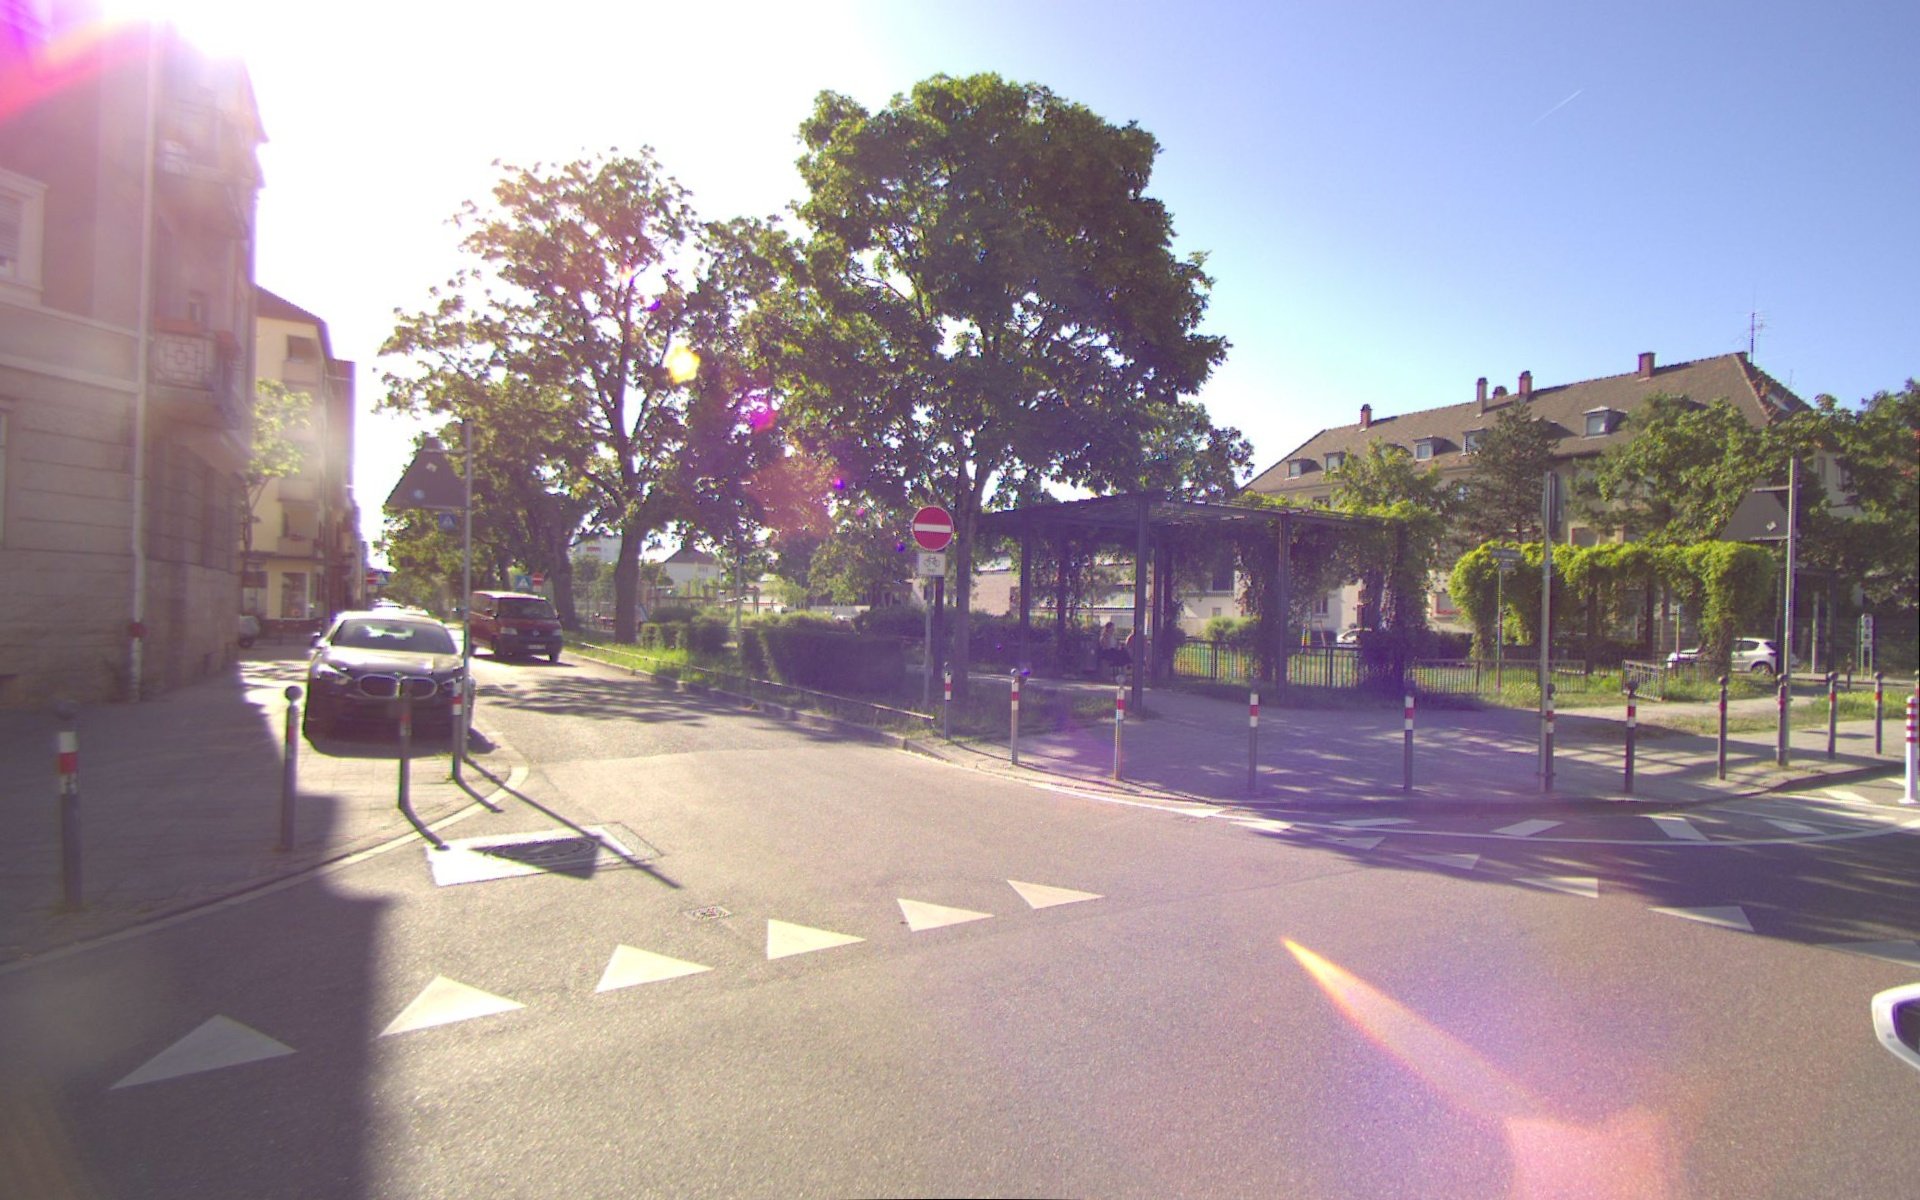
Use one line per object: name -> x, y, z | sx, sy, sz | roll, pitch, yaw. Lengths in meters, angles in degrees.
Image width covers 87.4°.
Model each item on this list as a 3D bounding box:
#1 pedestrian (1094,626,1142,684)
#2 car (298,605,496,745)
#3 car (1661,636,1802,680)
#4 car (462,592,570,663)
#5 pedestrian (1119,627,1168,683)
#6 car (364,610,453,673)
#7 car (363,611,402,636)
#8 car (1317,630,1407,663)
pedestrian -> 3.307, 1.140, 21.043 | 0.592, 1.165, 0.839 | 1, -1, -29
car -> -7.386, 0.891, 13.020 | 1.849, 1.502, 3.978 | 6, -3, -33
car -> 28.182, 2.104, 36.797 | 1.687, 1.416, 3.745 | 3, -2, -30
car -> -13.862, 0.825, 31.200 | 1.881, 1.986, 4.833 | 4, -3, -38
pedestrian -> 3.894, 1.157, 21.371 | 0.592, 1.154, 0.868 | 1, -1, -29
car -> -14.497, 1.044, 26.311 | 1.664, 1.434, 3.869 | 6, -3, -33
car -> -31.003, 1.260, 53.905 | 1.663, 1.278, 3.768 | 2, -1, -32
car -> 20.192, 2.317, 50.579 | 1.780, 1.514, 3.968 | 3, -2, -30
